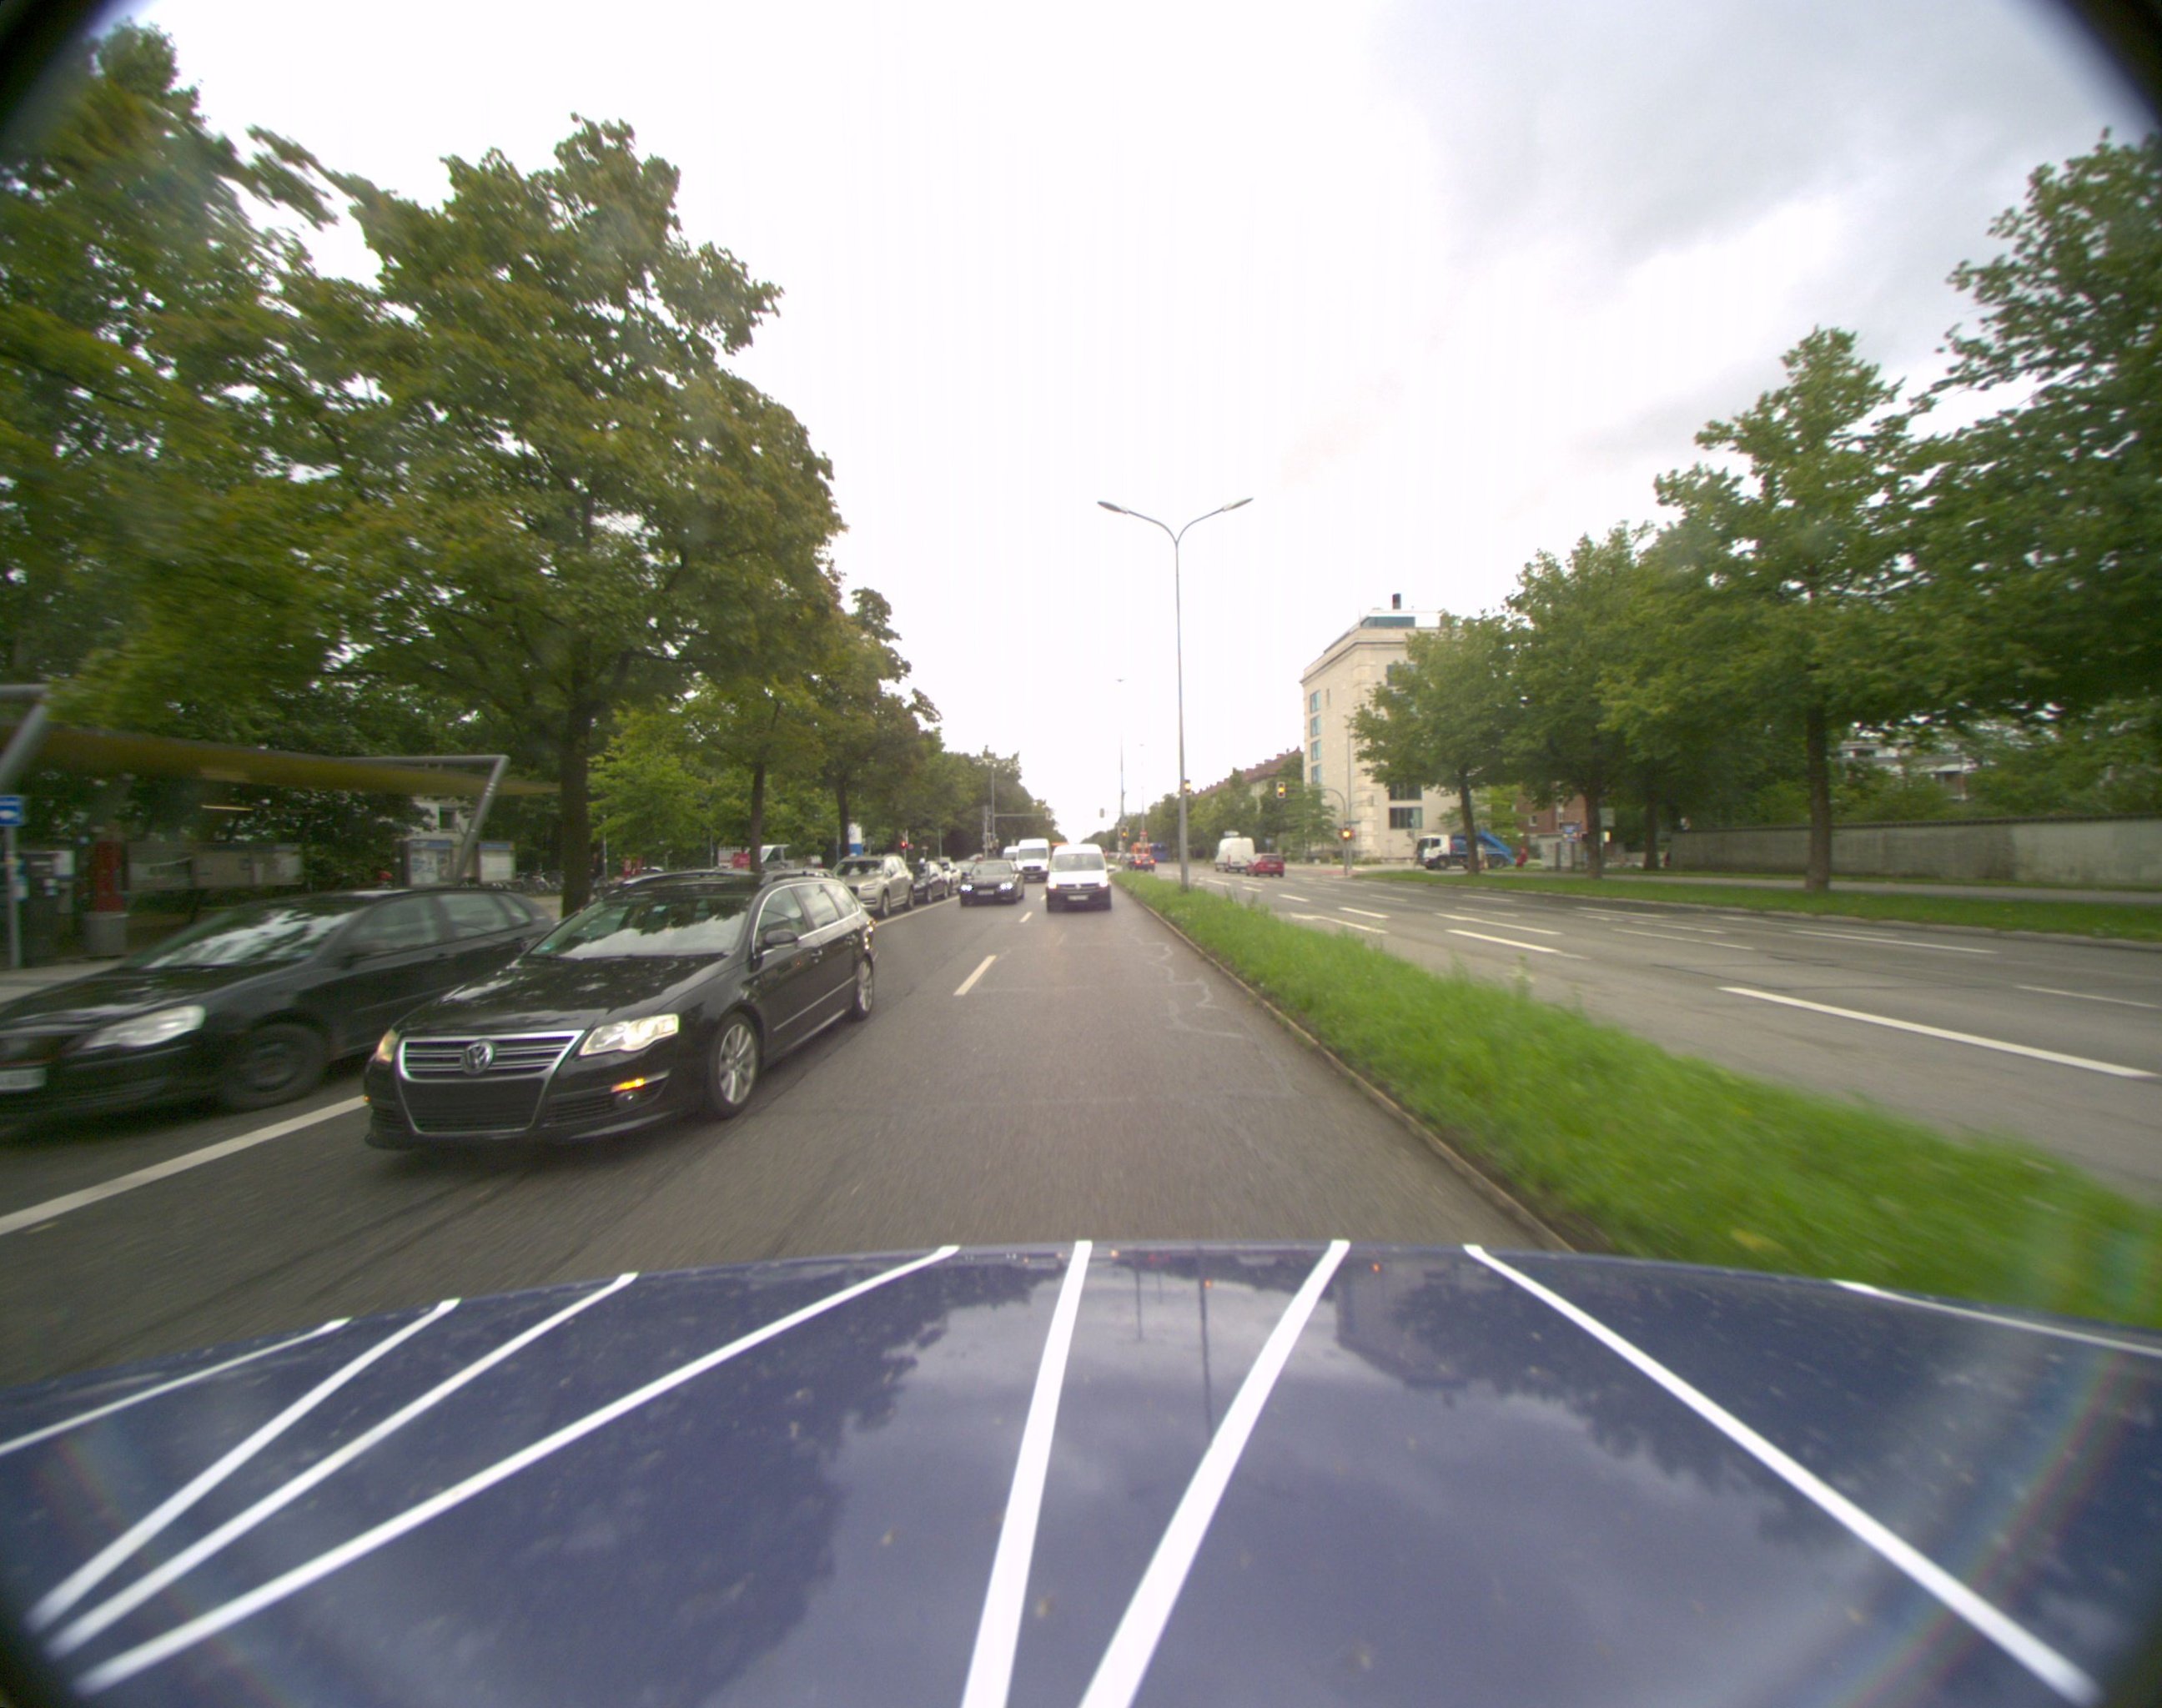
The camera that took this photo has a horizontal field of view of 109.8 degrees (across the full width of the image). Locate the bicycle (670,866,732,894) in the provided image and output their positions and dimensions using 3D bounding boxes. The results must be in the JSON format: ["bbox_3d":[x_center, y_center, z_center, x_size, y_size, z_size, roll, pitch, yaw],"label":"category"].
[{"bbox_3d":[-16.082,1.093,32.177,2.344,1.151,0.585,1,1,0],"label":"bicycle"}]

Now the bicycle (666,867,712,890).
[{"bbox_3d":[-21.771,1.340,42.201,0.716,1.147,2.133,-1,1,40],"label":"bicycle"}]

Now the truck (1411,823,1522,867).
[{"bbox_3d":[32.019,-0.738,63.367,7.817,3.468,2.772,-1,1,1],"label":"truck"}]

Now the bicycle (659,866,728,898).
[{"bbox_3d":[-14.690,1.054,28.809,2.344,1.151,0.529,1,1,0],"label":"bicycle"}]

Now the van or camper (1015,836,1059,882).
[{"bbox_3d":[-2.626,0.262,47.058,2.183,2.546,7.074,-1,0,0],"label":"van or camper"}]

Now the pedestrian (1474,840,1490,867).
[{"bbox_3d":[25.331,-0.033,47.950,0.709,1.730,0.517,-1,1,-5],"label":"pedestrian"}]

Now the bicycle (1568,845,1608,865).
[{"bbox_3d":[31.546,0.046,47.328,0.837,1.179,2.496,-1,1,-1],"label":"bicycle"}]

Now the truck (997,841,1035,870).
[{"bbox_3d":[-6.274,0.106,74.143,1.997,2.589,7.230,-2,1,8],"label":"truck"}]

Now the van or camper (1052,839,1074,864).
[{"bbox_3d":[-2.357,-0.364,101.707,2.780,3.219,7.074,-1,1,0],"label":"van or camper"}]

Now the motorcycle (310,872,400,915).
[{"bbox_3d":[-21.905,1.169,22.965,0.657,1.170,1.816,-1,1,26],"label":"motorcycle"}]

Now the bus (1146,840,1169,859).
[{"bbox_3d":[13.840,-0.874,138.468,2.752,3.324,12.046,0,0,-1],"label":"bus"}]

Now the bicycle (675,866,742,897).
[{"bbox_3d":[-14.661,1.077,29.910,2.344,1.151,0.529,1,1,0],"label":"bicycle"}]

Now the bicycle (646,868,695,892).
[{"bbox_3d":[-21.557,1.344,39.955,0.716,1.147,2.133,-1,1,40],"label":"bicycle"}]

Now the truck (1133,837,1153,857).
[{"bbox_3d":[10.607,-1.223,131.313,2.787,3.337,7.265,-1,1,0],"label":"truck"}]

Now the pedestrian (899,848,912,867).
[{"bbox_3d":[-14.469,0.272,62.724,0.691,1.530,0.738,-1,1,20],"label":"pedestrian"}]

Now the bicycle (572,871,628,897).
[{"bbox_3d":[-22.992,1.427,36.320,2.133,1.147,0.716,-2,1,-43],"label":"bicycle"}]

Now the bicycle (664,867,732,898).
[{"bbox_3d":[-14.807,1.106,29.360,2.344,1.151,0.529,1,1,0],"label":"bicycle"}]

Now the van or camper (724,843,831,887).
[{"bbox_3d":[-17.161,0.548,43.442,2.144,2.283,6.207,-1,1,18],"label":"van or camper"}]

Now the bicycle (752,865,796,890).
[{"bbox_3d":[-14.330,1.103,35.469,1.810,1.136,0.567,0,1,5],"label":"bicycle"}]

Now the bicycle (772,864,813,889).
[{"bbox_3d":[-13.845,1.083,36.487,1.809,1.136,0.568,0,1,9],"label":"bicycle"}]

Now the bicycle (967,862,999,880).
[{"bbox_3d":[-6.444,1.101,50.018,1.951,1.075,0.746,-2,1,-35],"label":"bicycle"}]

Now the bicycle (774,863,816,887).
[{"bbox_3d":[-14.493,1.046,38.535,1.946,1.205,0.567,0,1,-11],"label":"bicycle"}]

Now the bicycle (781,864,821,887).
[{"bbox_3d":[-13.968,1.079,37.955,1.812,1.136,0.567,0,1,-11],"label":"bicycle"}]

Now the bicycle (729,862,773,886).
[{"bbox_3d":[-16.600,1.006,38.196,1.946,1.205,0.567,0,1,-11],"label":"bicycle"}]

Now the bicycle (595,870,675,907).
[{"bbox_3d":[-14.906,1.148,25.402,2.344,1.151,0.529,1,1,0],"label":"bicycle"}]

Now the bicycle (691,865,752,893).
[{"bbox_3d":[-15.539,1.083,32.826,2.344,1.151,0.585,1,1,0],"label":"bicycle"}]

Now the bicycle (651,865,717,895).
[{"bbox_3d":[-15.924,1.051,30.491,2.344,1.151,0.585,1,1,0],"label":"bicycle"}]

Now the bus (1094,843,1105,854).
[{"bbox_3d":[5.798,-1.607,237.240,2.753,3.324,12.270,0,0,-2],"label":"bus"}]

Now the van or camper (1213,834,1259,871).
[{"bbox_3d":[11.946,-0.126,59.058,2.183,2.631,6.950,1,0,1],"label":"van or camper"}]

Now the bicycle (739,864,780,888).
[{"bbox_3d":[-15.783,1.066,37.321,1.810,1.136,0.567,0,1,5],"label":"bicycle"}]

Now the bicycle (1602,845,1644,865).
[{"bbox_3d":[33.576,0.071,47.123,0.837,1.179,2.496,-1,1,-1],"label":"bicycle"}]

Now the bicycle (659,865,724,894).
[{"bbox_3d":[-15.926,1.048,31.101,2.344,1.151,0.585,1,1,0],"label":"bicycle"}]

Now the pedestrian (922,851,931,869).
[{"bbox_3d":[-14.528,0.535,71.410,0.762,1.693,0.938,-1,1,-9],"label":"pedestrian"}]

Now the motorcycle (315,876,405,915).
[{"bbox_3d":[-21.204,1.200,22.382,0.657,1.056,1.817,-1,1,38],"label":"motorcycle"}]

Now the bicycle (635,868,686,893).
[{"bbox_3d":[-21.291,1.341,38.483,0.716,1.147,2.133,0,1,45],"label":"bicycle"}]
